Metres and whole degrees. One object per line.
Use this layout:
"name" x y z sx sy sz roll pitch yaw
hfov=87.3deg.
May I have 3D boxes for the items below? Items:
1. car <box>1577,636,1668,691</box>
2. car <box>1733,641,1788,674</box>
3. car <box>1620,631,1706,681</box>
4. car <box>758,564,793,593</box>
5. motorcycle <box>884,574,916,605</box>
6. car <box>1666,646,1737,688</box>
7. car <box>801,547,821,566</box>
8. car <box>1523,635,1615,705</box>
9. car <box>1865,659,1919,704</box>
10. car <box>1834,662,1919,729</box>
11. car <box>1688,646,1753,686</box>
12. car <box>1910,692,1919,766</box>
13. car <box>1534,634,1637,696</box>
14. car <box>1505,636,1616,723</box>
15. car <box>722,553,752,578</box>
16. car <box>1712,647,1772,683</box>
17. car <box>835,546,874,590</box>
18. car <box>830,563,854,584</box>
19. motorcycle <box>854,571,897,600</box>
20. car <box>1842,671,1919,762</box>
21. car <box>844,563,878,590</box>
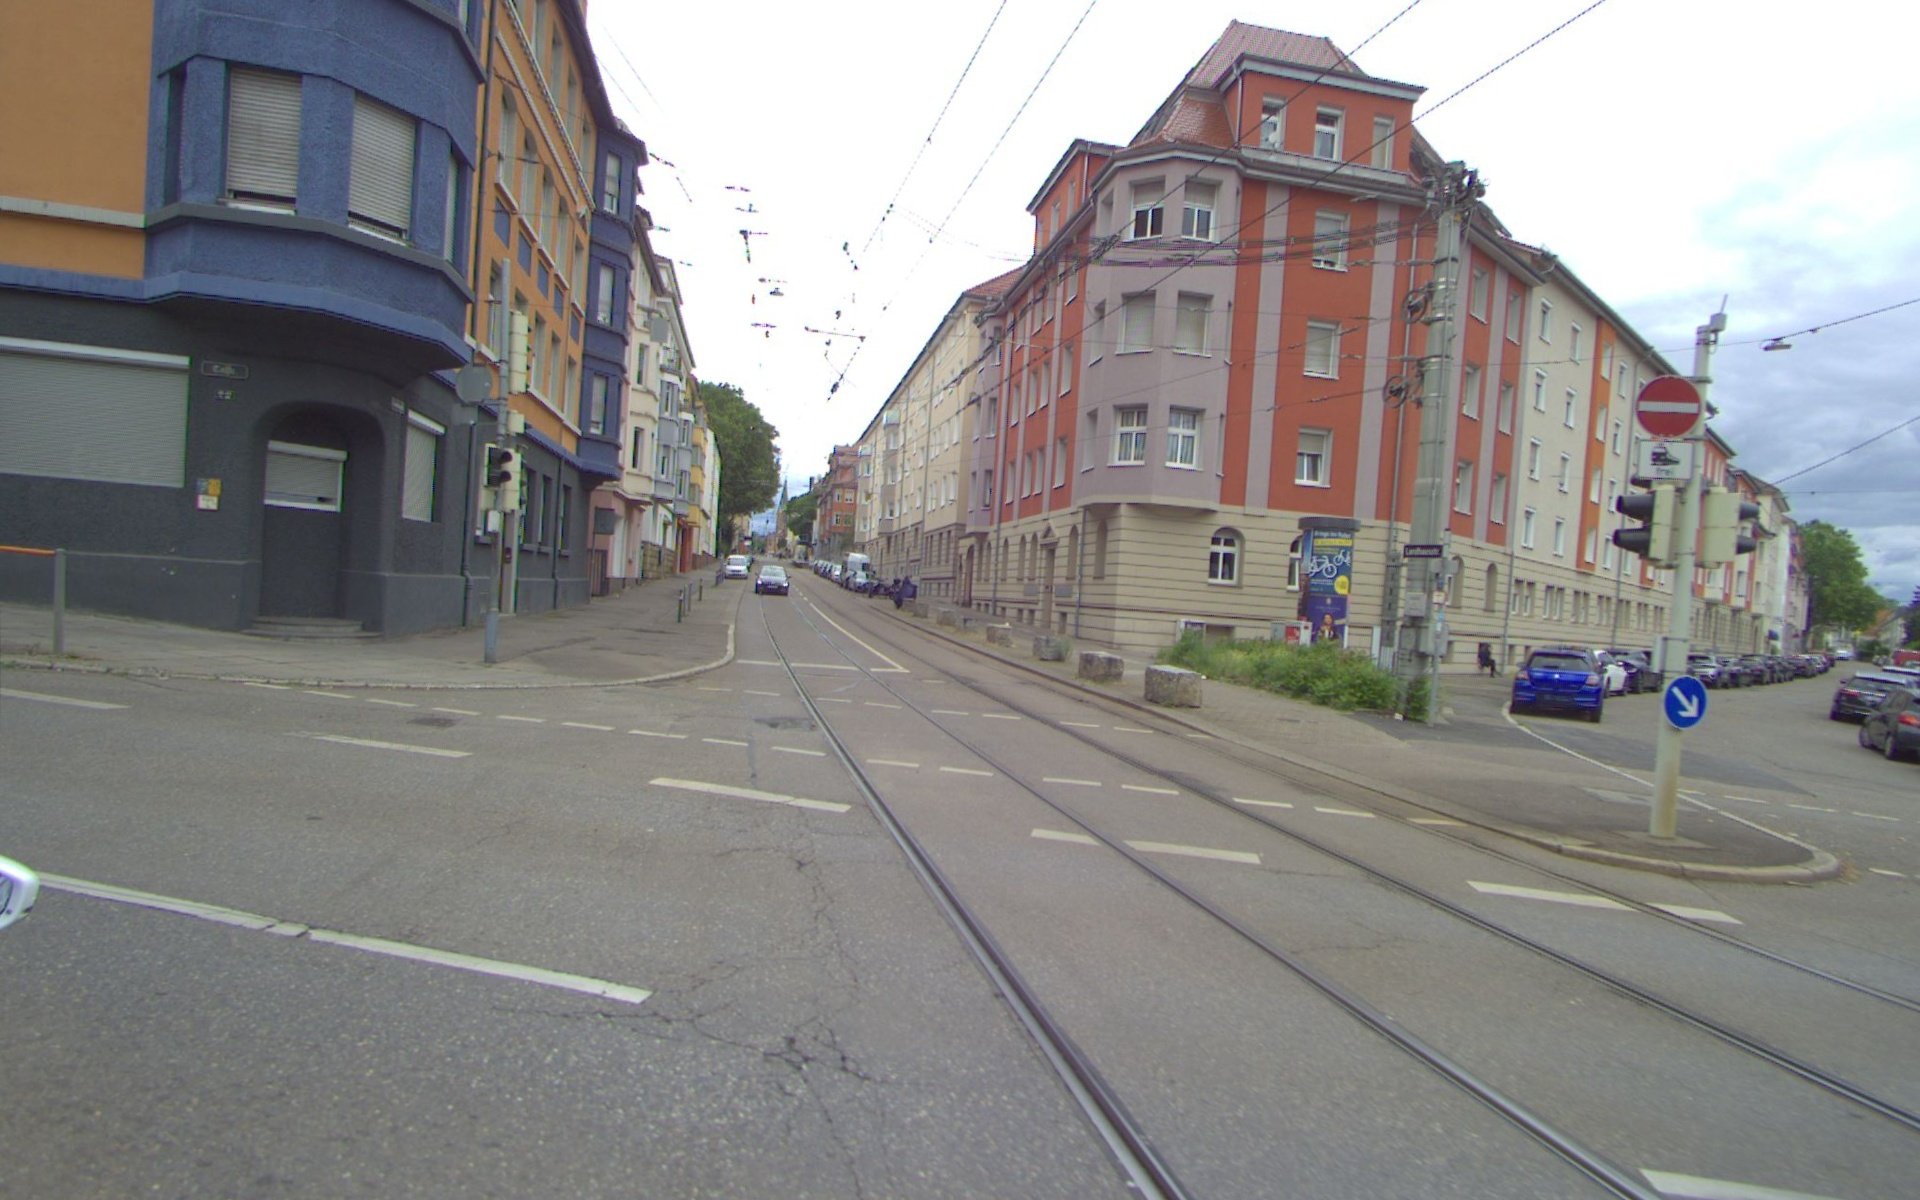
"car" 23.744 2.246 35.991 1.893 1.655 4.114 8 3 43
"car" 46.427 3.311 58.302 4.112 1.655 1.894 3 3 -45
"car" 27.921 2.222 39.920 4.110 1.655 1.894 3 3 -44
"car" -9.839 -1.157 53.586 1.663 1.343 3.653 6 1 -11
"motorcycle" -2.738 -0.492 45.513 0.849 1.345 2.173 -2 3 -21
"car" 34.300 3.075 46.517 4.112 1.655 1.894 3 3 -45
"car" -19.929 -5.773 134.221 2.237 2.211 4.757 6 1 -11
"car" 17.055 1.877 28.073 1.887 1.556 4.125 7 3 33
"car" 38.686 3.329 41.264 4.111 1.556 1.894 3 3 -44
"car" 27.033 2.740 29.401 1.890 1.556 4.120 7 3 38
"car" 37.834 3.252 50.014 4.112 1.655 1.894 3 3 -45
"car" 17.491 2.297 16.357 1.886 1.556 4.129 7 3 30
"car" 20.014 2.040 32.118 1.893 1.655 4.114 8 3 43
"car" 13.911 1.738 23.232 1.887 1.556 4.126 7 3 33
"car" -17.324 -2.666 78.263 1.967 1.714 3.990 6 1 -11
"car" 42.163 3.473 54.235 4.112 1.655 1.894 3 3 -45
"car" -7.829 -2.360 74.429 2.236 2.927 4.757 6 1 -11
"car" -10.236 -2.303 86.833 1.671 1.576 3.635 6 1 -11
"motorcycle" -4.675 -0.796 55.889 2.153 1.344 0.696 6 1 -22
"car" 20.182 2.461 20.926 1.886 1.556 4.128 7 3 31
"car" -6.818 -1.586 68.814 1.815 1.589 3.810 6 1 -11
